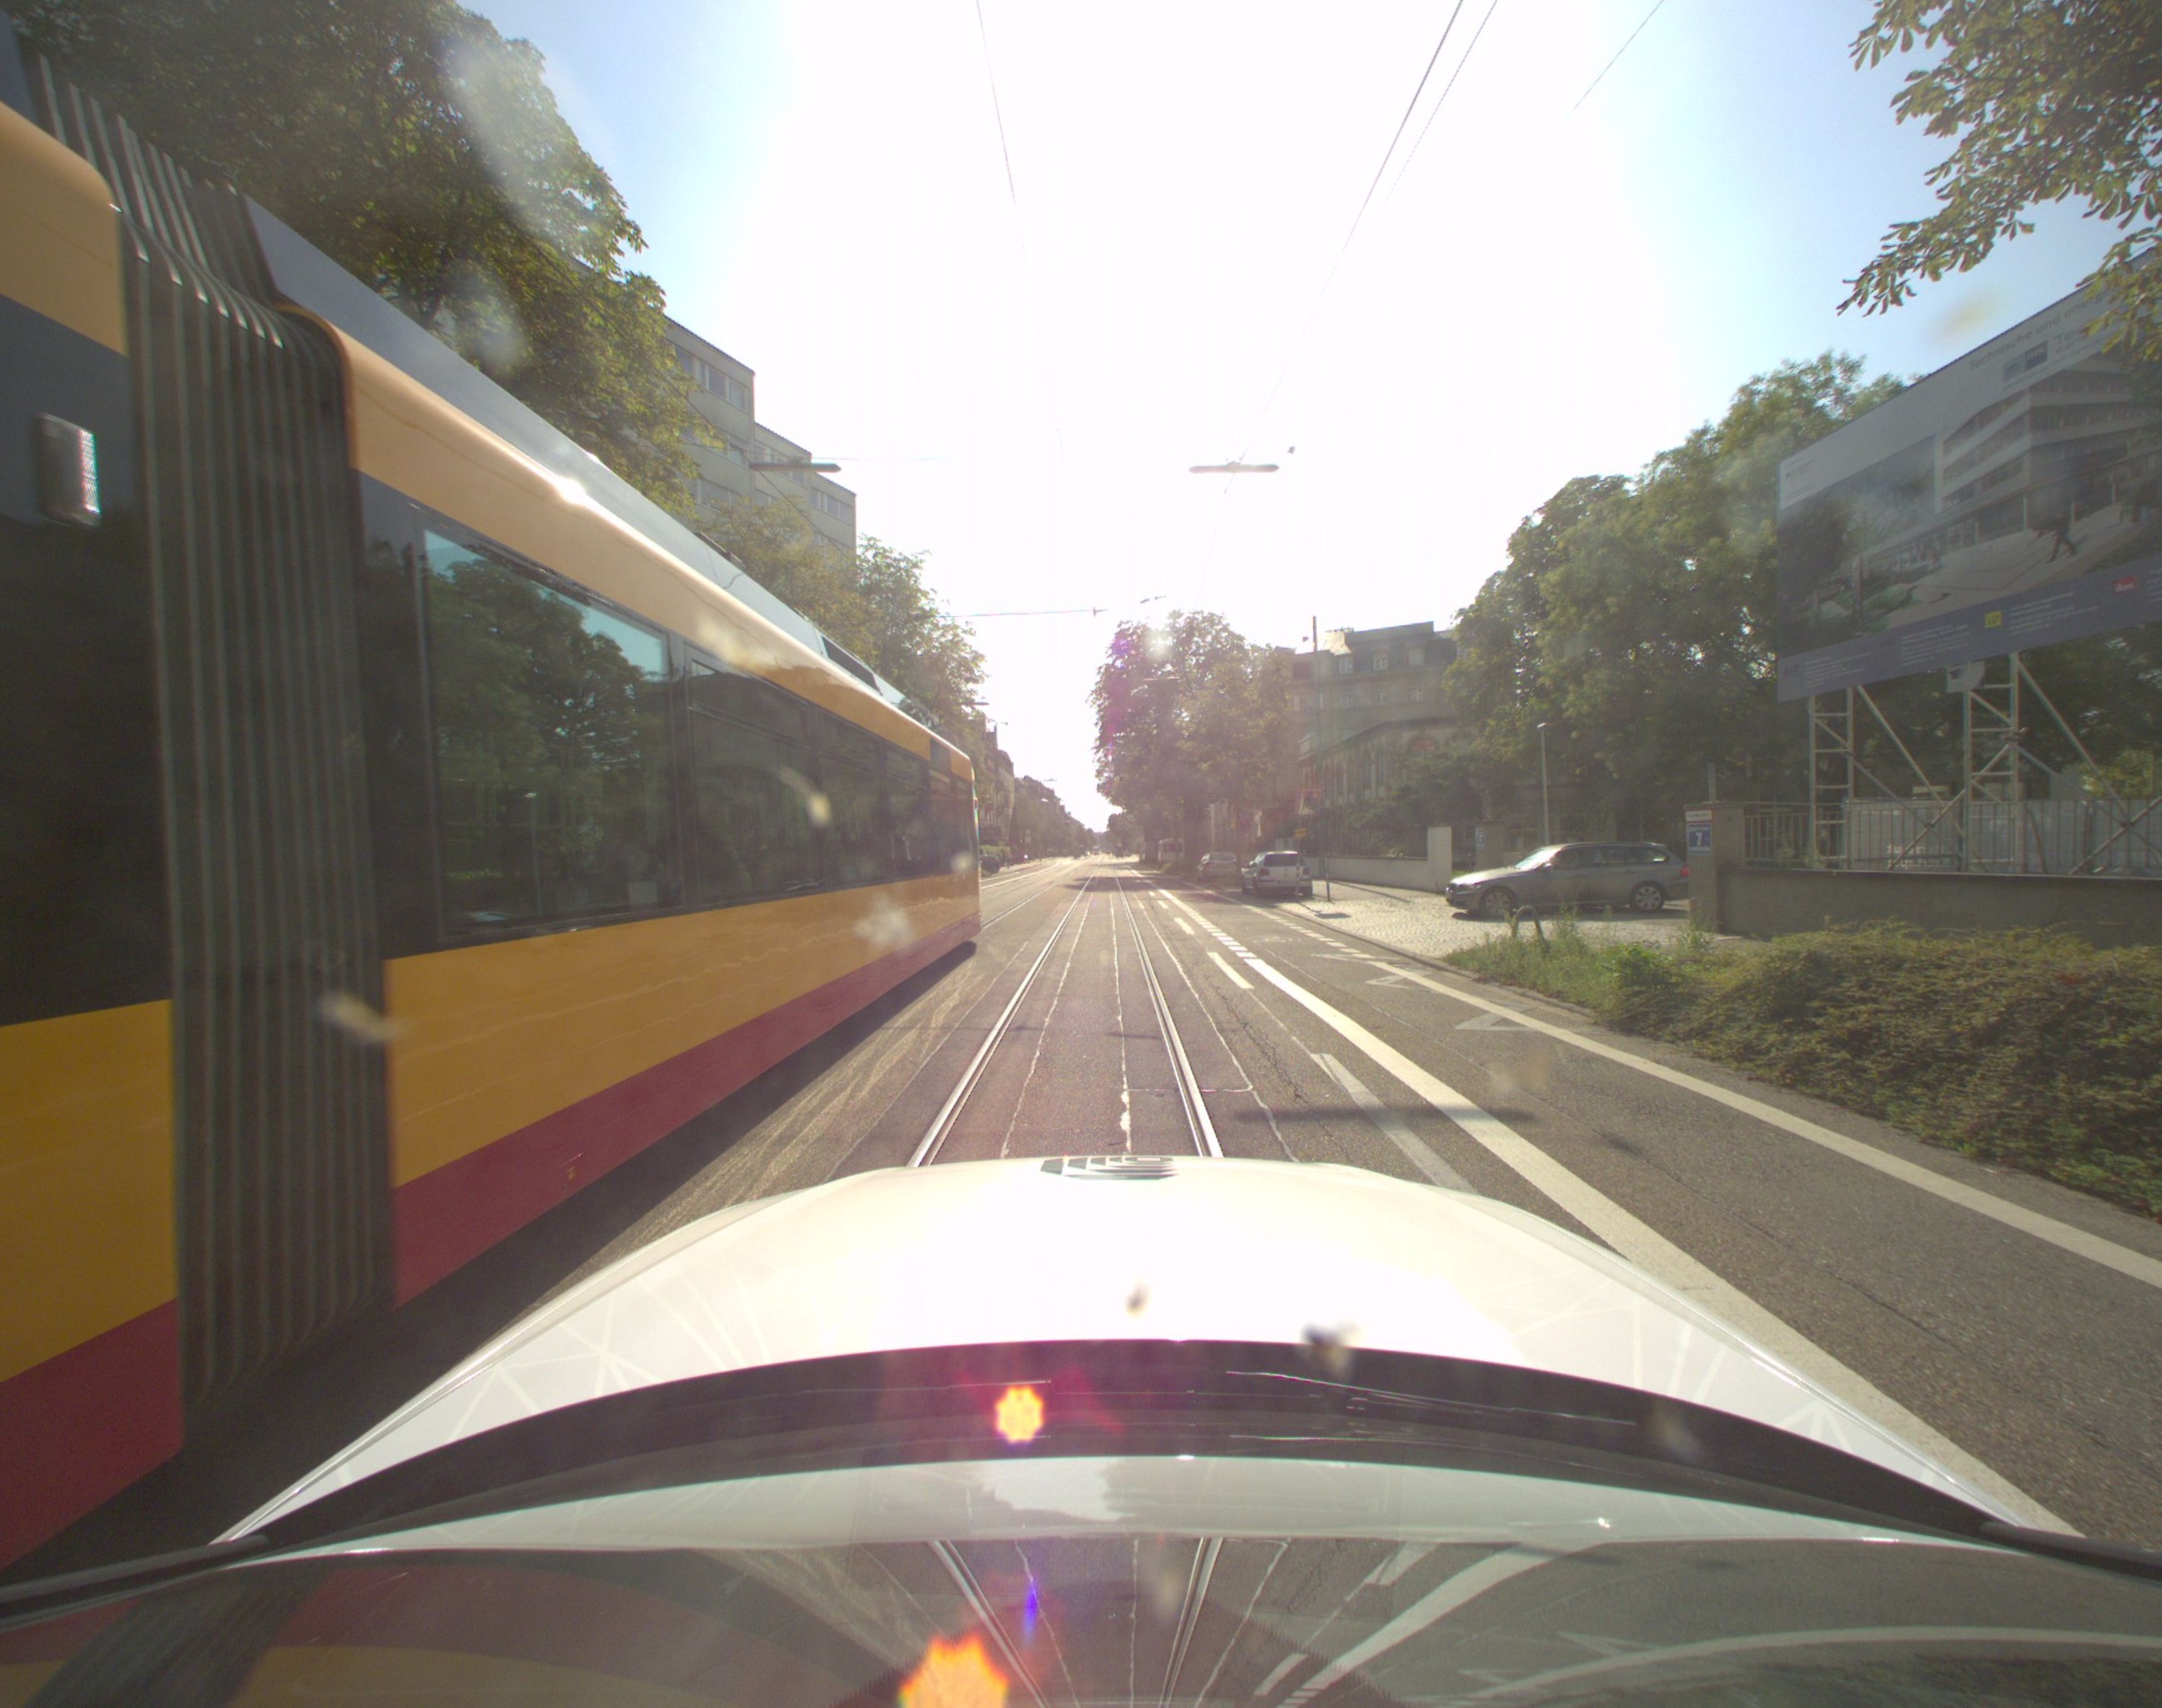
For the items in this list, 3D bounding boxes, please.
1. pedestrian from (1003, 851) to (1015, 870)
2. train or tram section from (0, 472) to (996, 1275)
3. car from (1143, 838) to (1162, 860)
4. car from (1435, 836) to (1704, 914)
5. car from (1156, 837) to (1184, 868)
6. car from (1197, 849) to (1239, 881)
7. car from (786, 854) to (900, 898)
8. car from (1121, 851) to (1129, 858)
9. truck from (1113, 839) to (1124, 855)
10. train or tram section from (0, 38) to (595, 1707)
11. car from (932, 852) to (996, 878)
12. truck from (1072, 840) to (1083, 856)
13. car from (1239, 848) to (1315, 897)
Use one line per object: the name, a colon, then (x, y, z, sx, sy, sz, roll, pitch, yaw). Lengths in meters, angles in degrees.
pedestrian: (-6.738, 0.638, 76.306, 0.958, 1.760, 0.661, -1, 0, 1)
train or tram section: (-2.932, 0.060, 8.226, 2.670, 2.861, 10.548, -1, 0, 2)
car: (8.227, -0.546, 94.581, 1.996, 2.475, 4.480, -1, 0, 3)
car: (9.887, 0.433, 16.843, 4.393, 1.410, 1.811, -2, -1, 10)
car: (7.379, -0.112, 67.711, 1.996, 2.490, 4.480, -1, 0, 3)
car: (6.595, 0.497, 39.459, 1.588, 1.418, 3.637, -1, 0, 3)
car: (-8.726, 0.776, 30.108, 1.550, 1.443, 3.787, -1, 0, 42)
car: (11.007, 0.132, 202.498, 1.985, 1.838, 4.003, -1, 0, 3)
truck: (7.223, -1.349, 156.302, 1.855, 3.130, 4.352, -1, 0, 0)
train or tram section: (-3.146, 0.087, 1.054, 2.696, 2.856, 3.651, -1, 0, 2)
car: (-8.020, 0.714, 55.975, 4.007, 1.640, 1.677, -1, 0, -25)
truck: (-0.603, -1.190, 156.431, 1.986, 2.975, 4.572, -1, 0, 1)
car: (6.129, 0.523, 25.877, 1.683, 1.418, 3.637, -1, 0, 3)
